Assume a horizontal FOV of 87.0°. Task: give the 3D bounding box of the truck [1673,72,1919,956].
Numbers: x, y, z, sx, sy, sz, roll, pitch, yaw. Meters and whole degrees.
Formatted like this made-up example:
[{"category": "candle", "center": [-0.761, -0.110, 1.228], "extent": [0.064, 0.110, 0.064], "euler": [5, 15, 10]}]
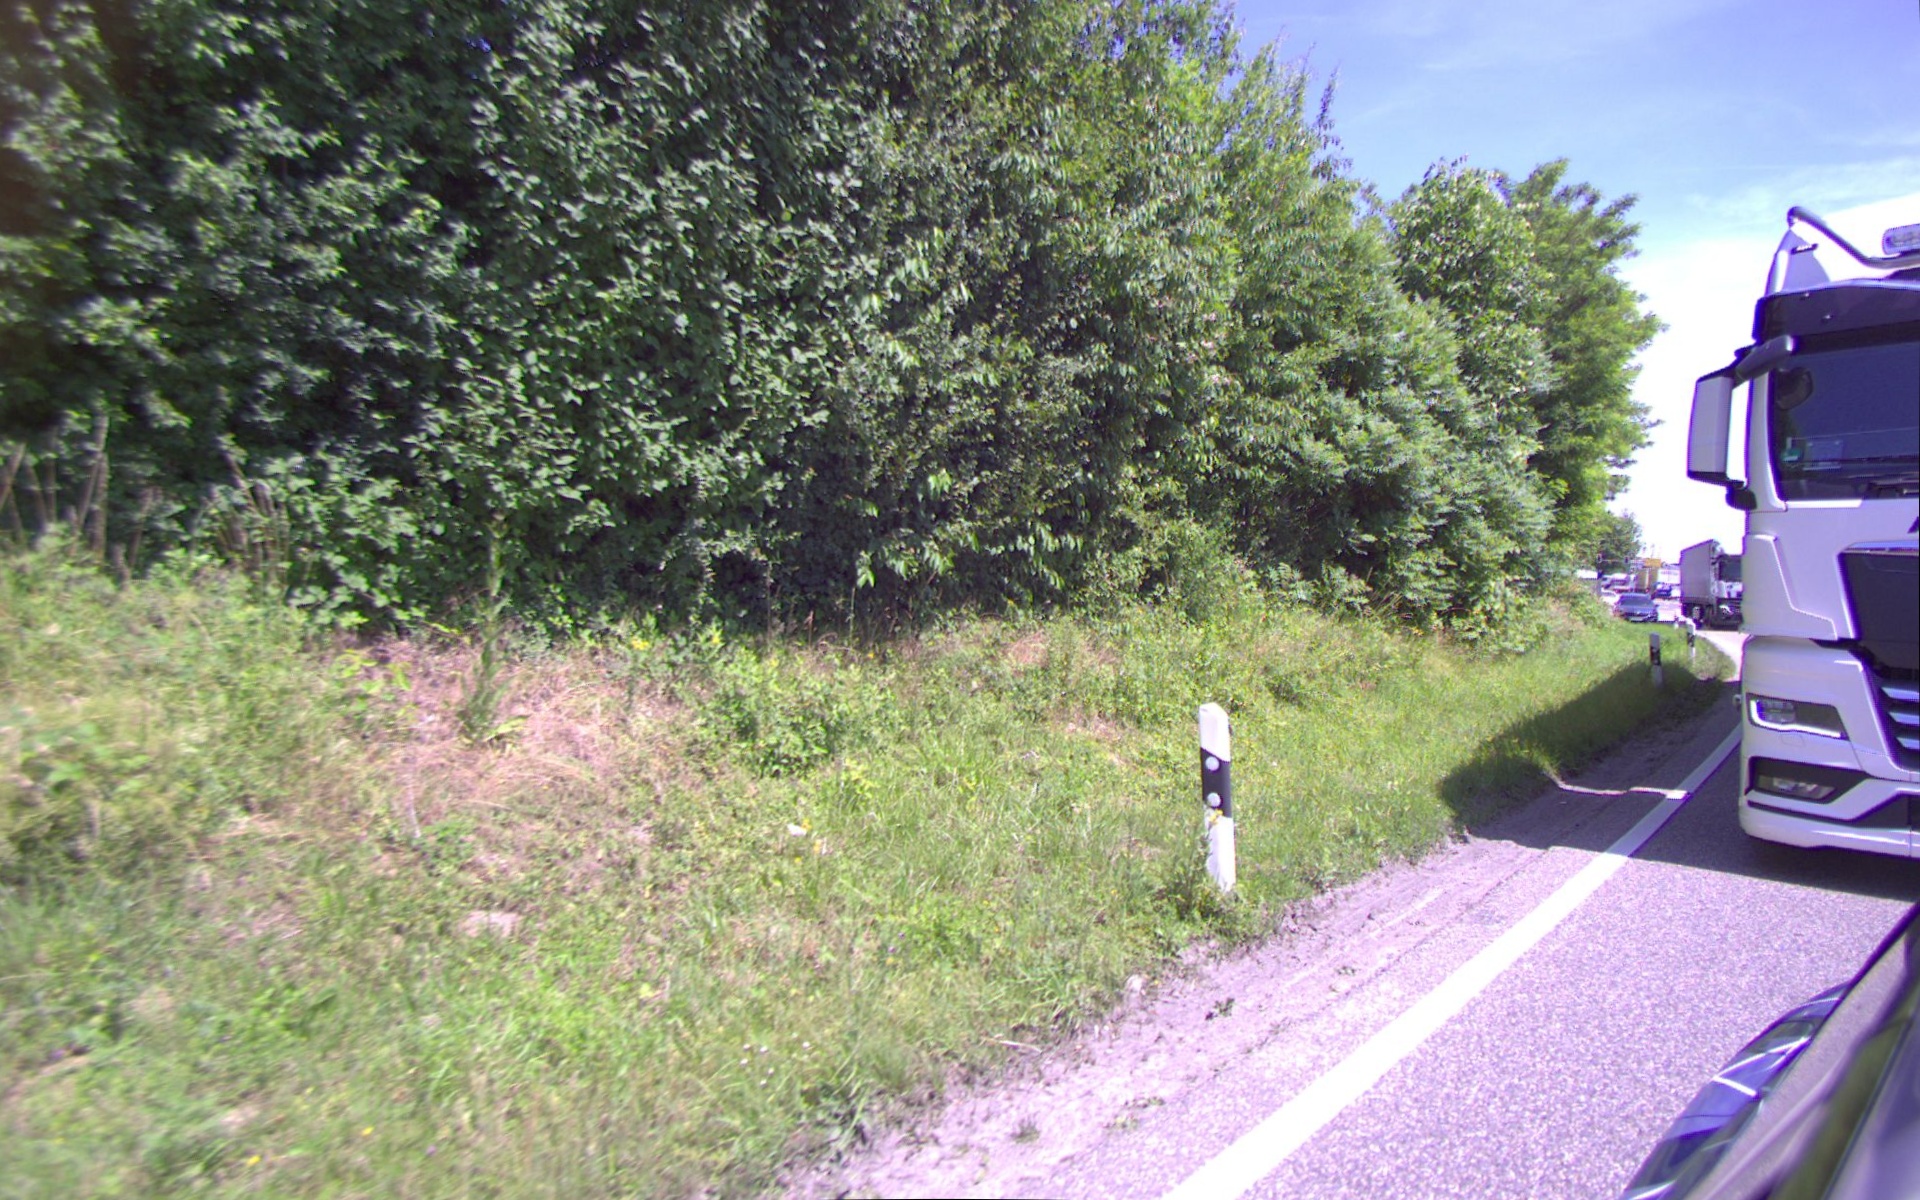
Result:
[{"category": "truck", "center": [10.773, -0.631, 10.760], "extent": [2.971, 4.145, 17.366], "euler": [-2, 0, 42]}]
